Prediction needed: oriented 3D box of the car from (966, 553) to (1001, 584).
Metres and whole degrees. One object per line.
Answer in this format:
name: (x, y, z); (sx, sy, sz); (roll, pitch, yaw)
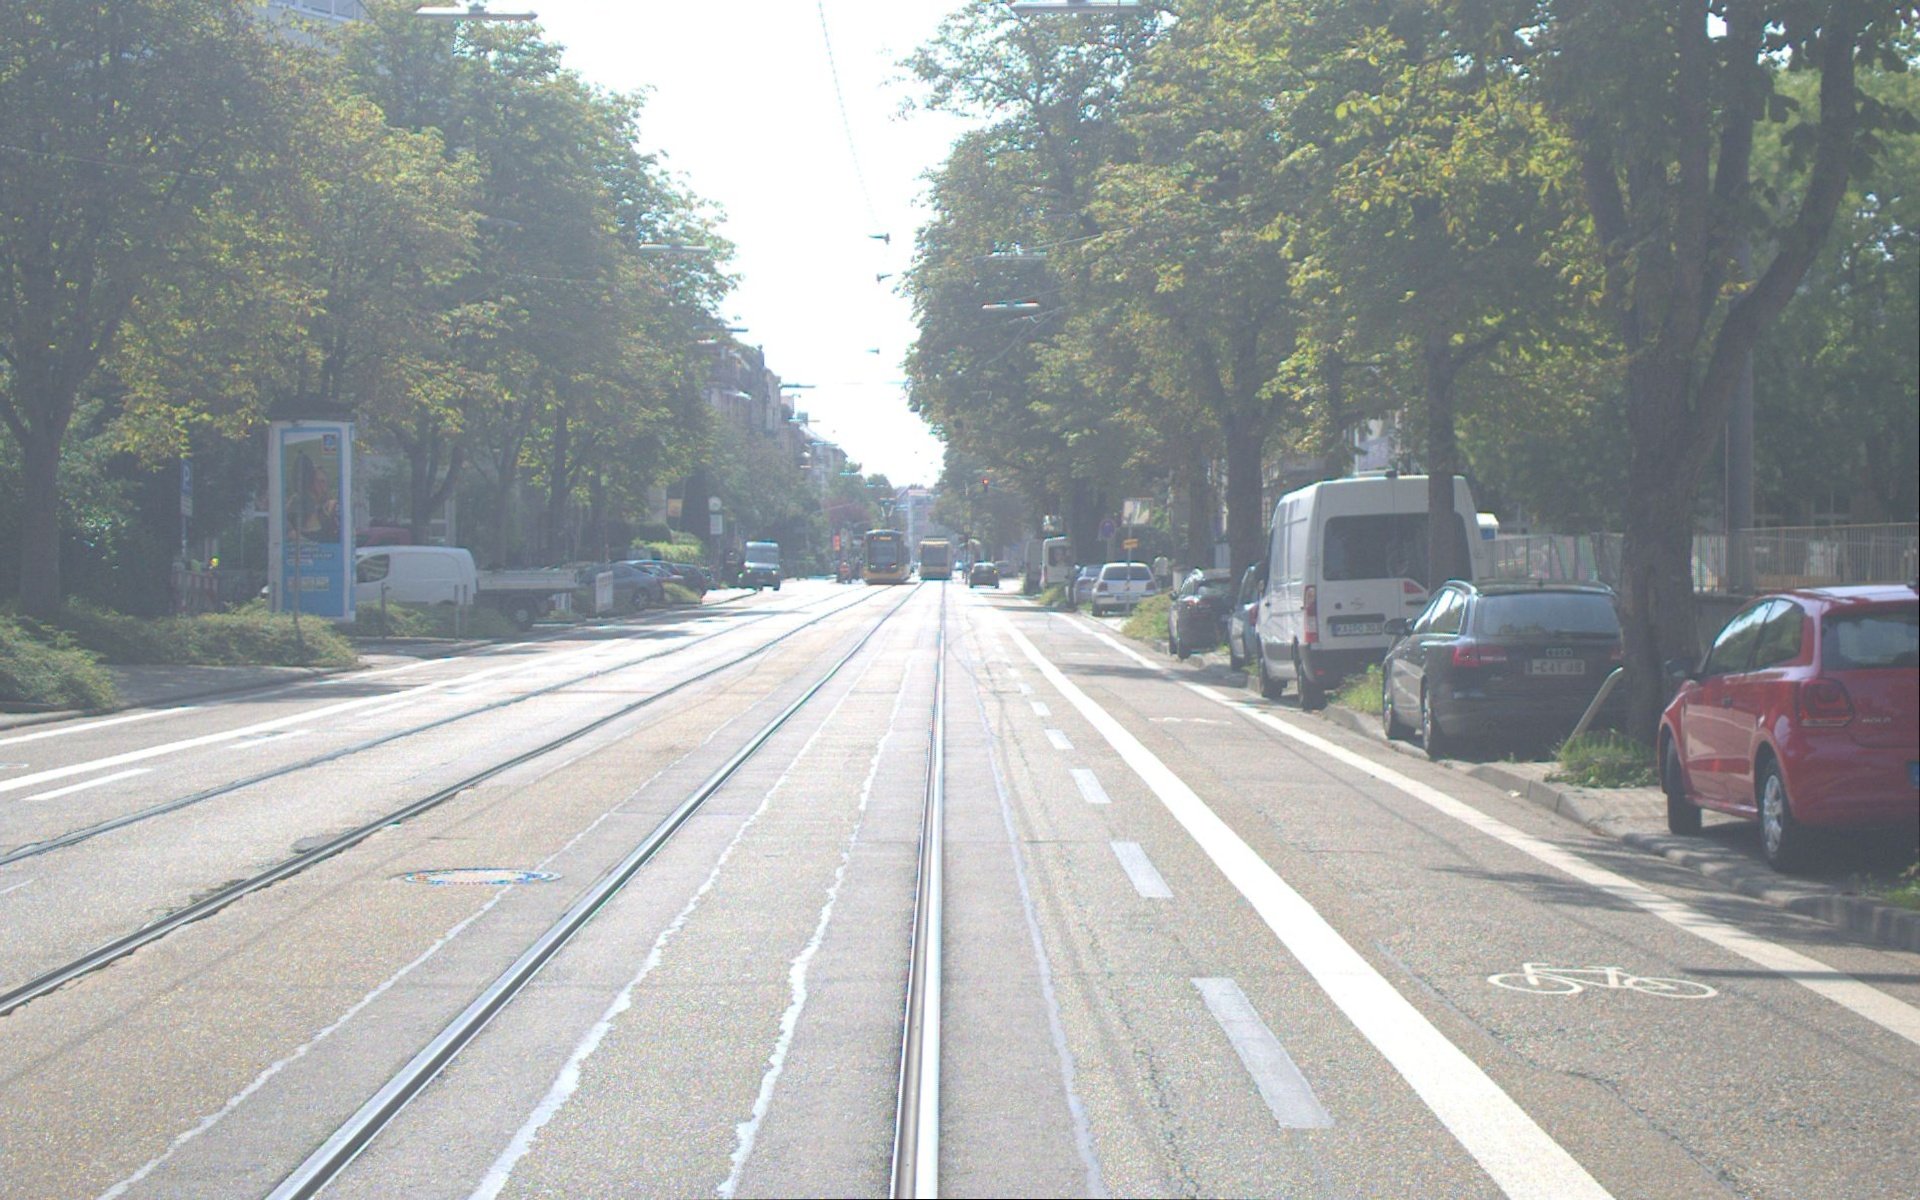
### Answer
car: (1.363, -1.835, 199.939); (1.993, 1.795, 4.000); (1, 0, 0)

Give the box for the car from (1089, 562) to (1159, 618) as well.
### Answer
car: (4.364, -0.272, 91.793); (1.791, 1.441, 3.732); (-1, 0, 2)

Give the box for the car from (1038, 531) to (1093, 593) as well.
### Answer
car: (4.095, -1.454, 133.394); (1.993, 2.357, 4.000); (1, 0, 0)

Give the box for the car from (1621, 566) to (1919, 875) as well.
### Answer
car: (4.863, 0.576, 18.729); (1.685, 1.495, 4.132); (0, 0, -1)

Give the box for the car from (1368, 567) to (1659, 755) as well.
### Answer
car: (4.539, 0.457, 28.838); (1.685, 1.435, 4.803); (0, 0, 0)

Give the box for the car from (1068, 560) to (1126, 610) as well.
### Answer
car: (4.190, -0.449, 105.421); (1.641, 1.506, 3.641); (0, 0, 0)

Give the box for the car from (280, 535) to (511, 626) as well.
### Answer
car: (-11.310, -0.405, 69.001); (4.274, 1.766, 1.824); (-1, 1, -43)

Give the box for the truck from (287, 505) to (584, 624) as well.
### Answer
truck: (-11.066, -0.756, 72.810); (5.951, 2.426, 2.150); (-1, 1, -39)

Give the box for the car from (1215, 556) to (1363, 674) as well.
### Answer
car: (4.674, 0.207, 49.346); (1.674, 1.574, 4.171); (-2, 0, 0)

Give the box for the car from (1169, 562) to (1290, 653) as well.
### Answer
car: (4.527, 0.098, 58.274); (1.674, 1.453, 4.664); (-1, 1, 0)

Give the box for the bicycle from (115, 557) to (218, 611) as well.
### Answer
bicycle: (-18.356, -0.373, 79.530); (2.341, 1.165, 0.601); (2, 0, 20)

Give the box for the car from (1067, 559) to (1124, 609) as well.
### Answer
car: (4.377, -0.532, 111.663); (1.794, 1.571, 4.000); (0, 1, 2)

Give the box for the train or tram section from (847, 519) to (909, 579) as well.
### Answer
train or tram section: (-5.200, -3.245, 219.737); (3.497, 3.691, 12.412); (1, 1, 1)

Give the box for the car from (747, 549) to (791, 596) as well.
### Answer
car: (-10.182, -1.468, 183.036); (2.242, 2.433, 4.001); (1, 0, -3)

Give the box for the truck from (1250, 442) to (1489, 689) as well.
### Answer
truck: (4.546, -0.383, 39.011); (1.916, 2.590, 5.593); (0, 0, -1)

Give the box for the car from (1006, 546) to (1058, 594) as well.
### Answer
car: (3.331, -1.408, 160.106); (1.993, 2.226, 4.001); (0, 1, -5)

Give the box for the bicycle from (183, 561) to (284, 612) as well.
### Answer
bicycle: (-17.401, -0.321, 82.312); (2.340, 1.165, 0.621); (2, 0, 18)
